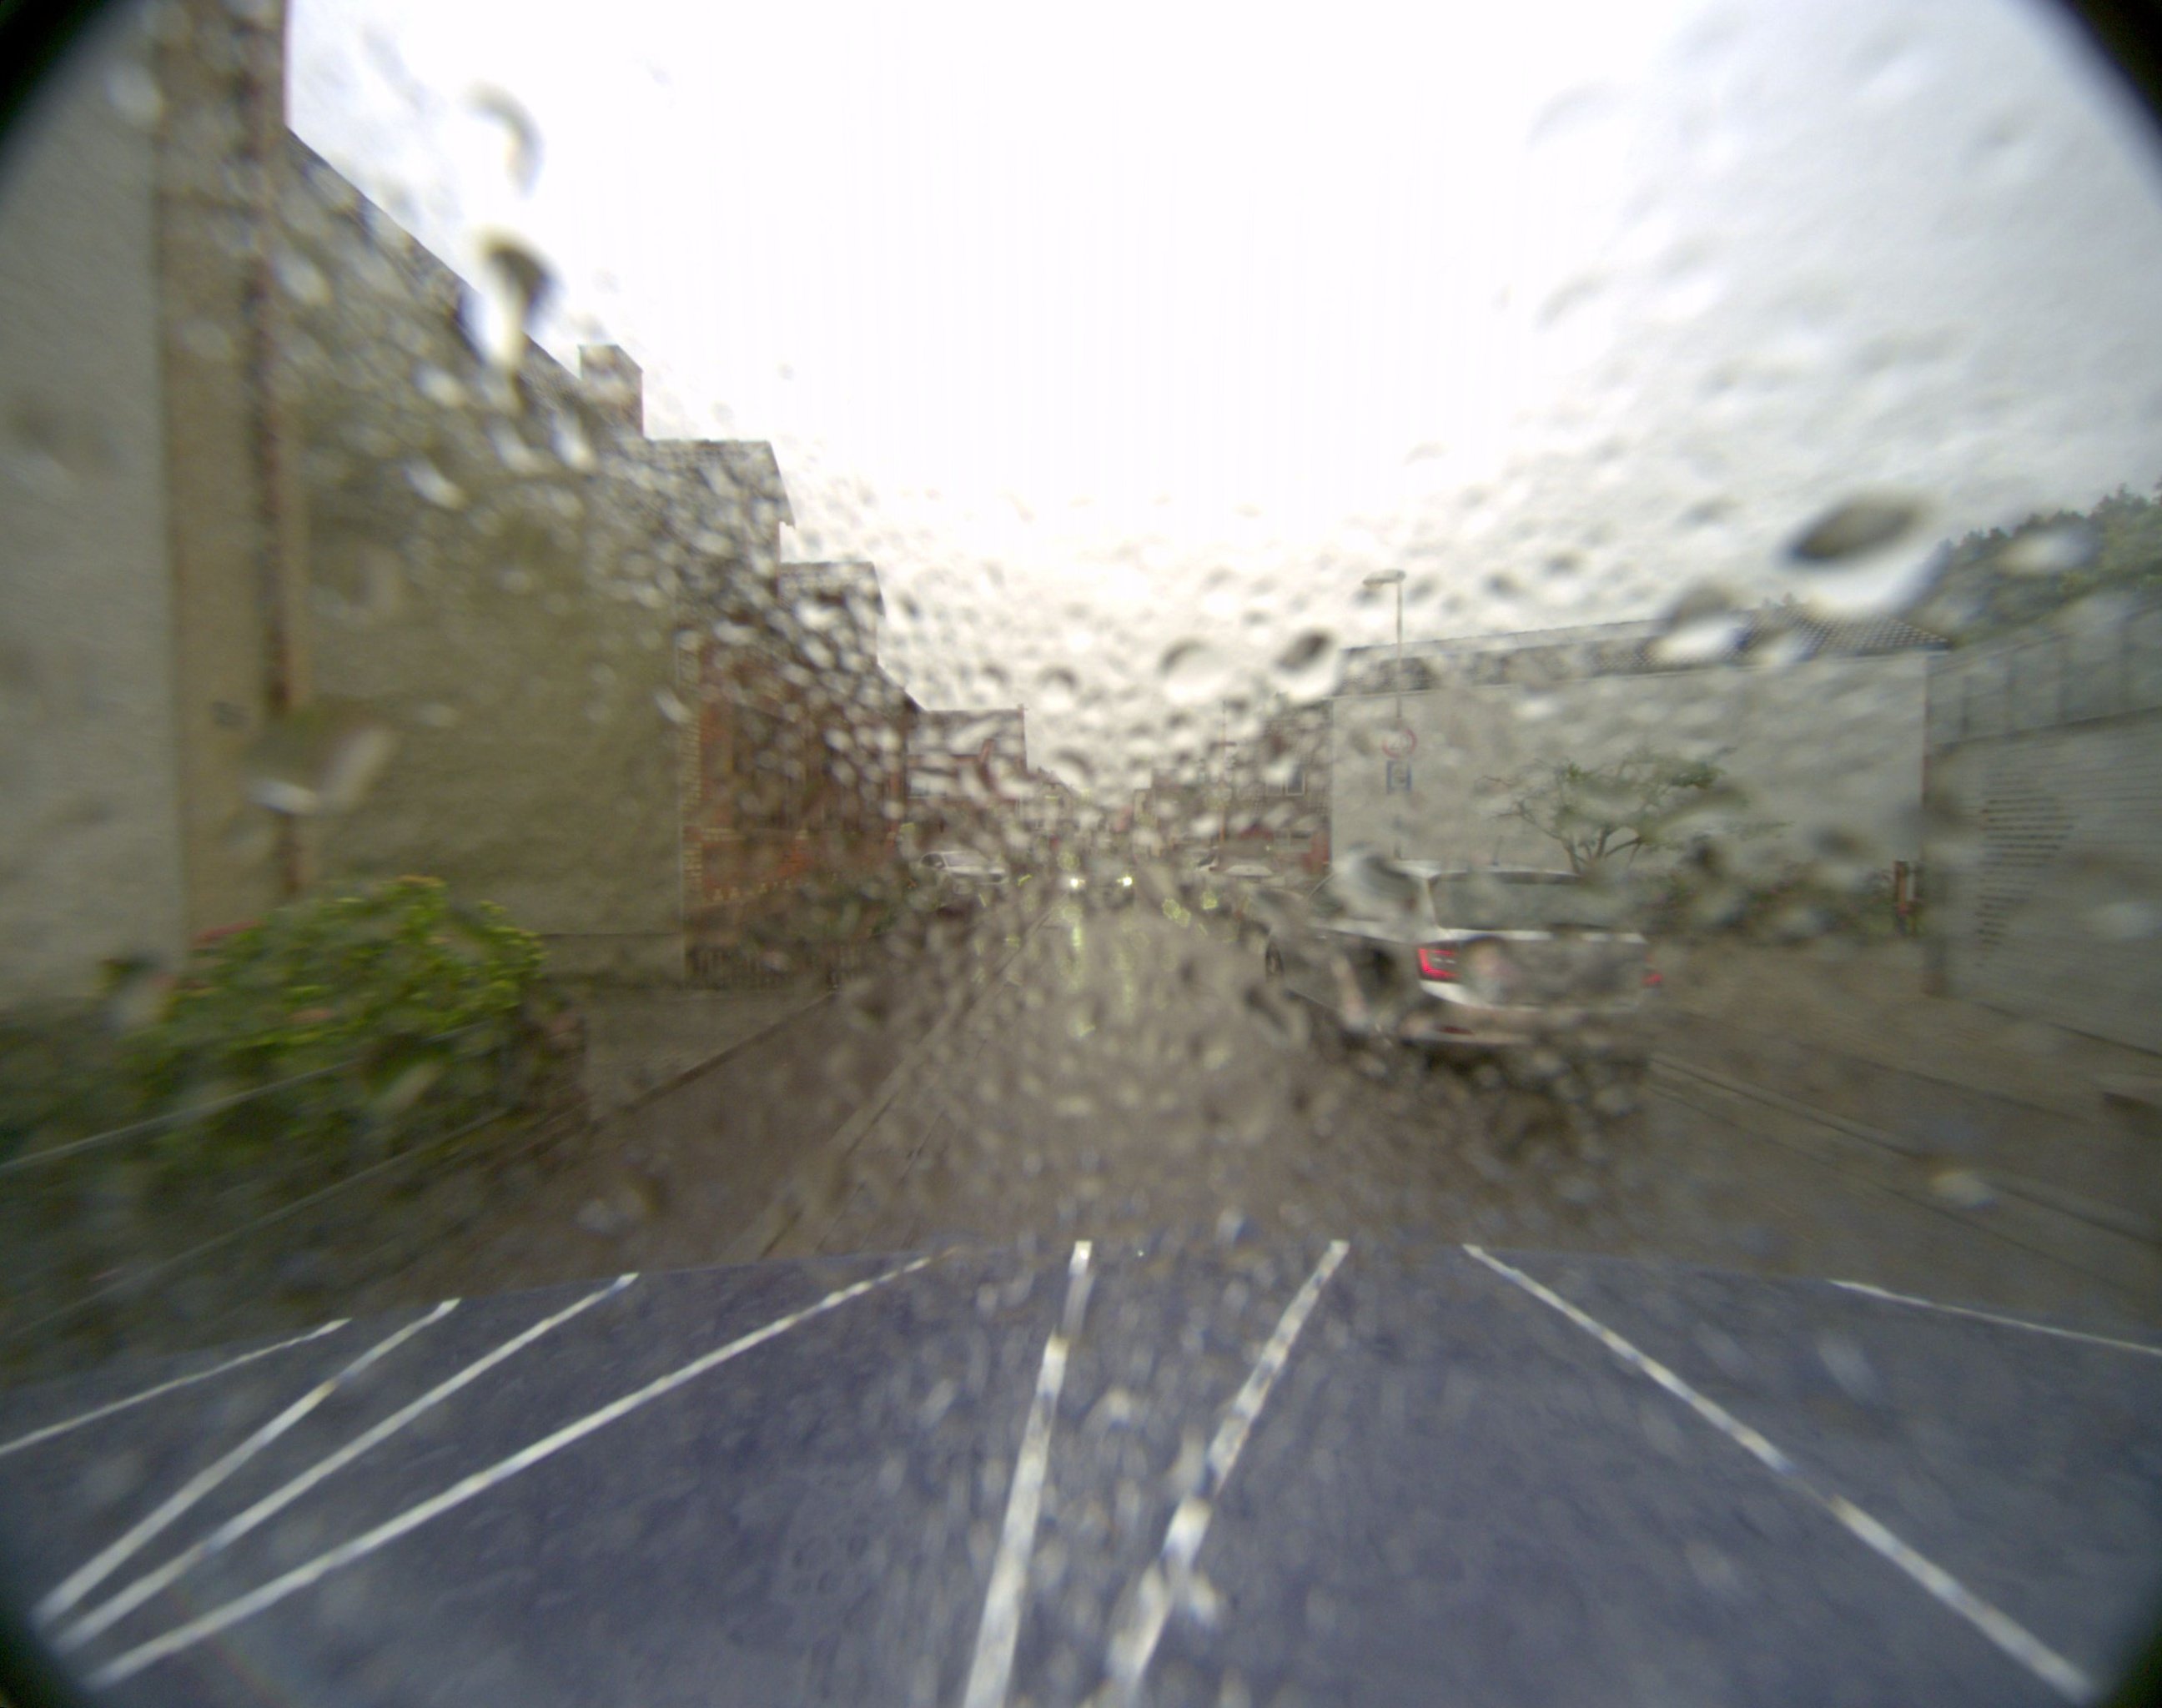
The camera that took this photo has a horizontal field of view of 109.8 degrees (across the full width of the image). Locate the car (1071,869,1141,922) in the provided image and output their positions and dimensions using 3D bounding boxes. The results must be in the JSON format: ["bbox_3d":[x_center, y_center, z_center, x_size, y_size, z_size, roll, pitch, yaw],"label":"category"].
[{"bbox_3d":[0.650,1.145,22.039,1.667,1.290,3.517,-2,0,-3],"label":"car"}]

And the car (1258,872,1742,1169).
[{"bbox_3d":[2.657,0.928,5.873,1.583,1.472,3.715,2,0,-1],"label":"car"}]

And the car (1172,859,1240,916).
[{"bbox_3d":[3.975,1.012,24.767,1.675,1.607,4.184,1,1,3],"label":"car"}]

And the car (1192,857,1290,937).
[{"bbox_3d":[3.846,0.958,18.955,1.815,1.674,4.184,1,1,4],"label":"car"}]

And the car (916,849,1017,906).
[{"bbox_3d":[-3.696,0.694,23.952,1.894,1.566,3.882,-3,1,-28],"label":"car"}]

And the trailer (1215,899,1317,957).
[{"bbox_3d":[3.625,1.436,15.350,1.504,0.811,3.006,1,1,4],"label":"trailer"}]

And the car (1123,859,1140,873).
[{"bbox_3d":[6.052,1.427,91.577,1.860,1.497,4.161,1,1,3],"label":"car"}]
